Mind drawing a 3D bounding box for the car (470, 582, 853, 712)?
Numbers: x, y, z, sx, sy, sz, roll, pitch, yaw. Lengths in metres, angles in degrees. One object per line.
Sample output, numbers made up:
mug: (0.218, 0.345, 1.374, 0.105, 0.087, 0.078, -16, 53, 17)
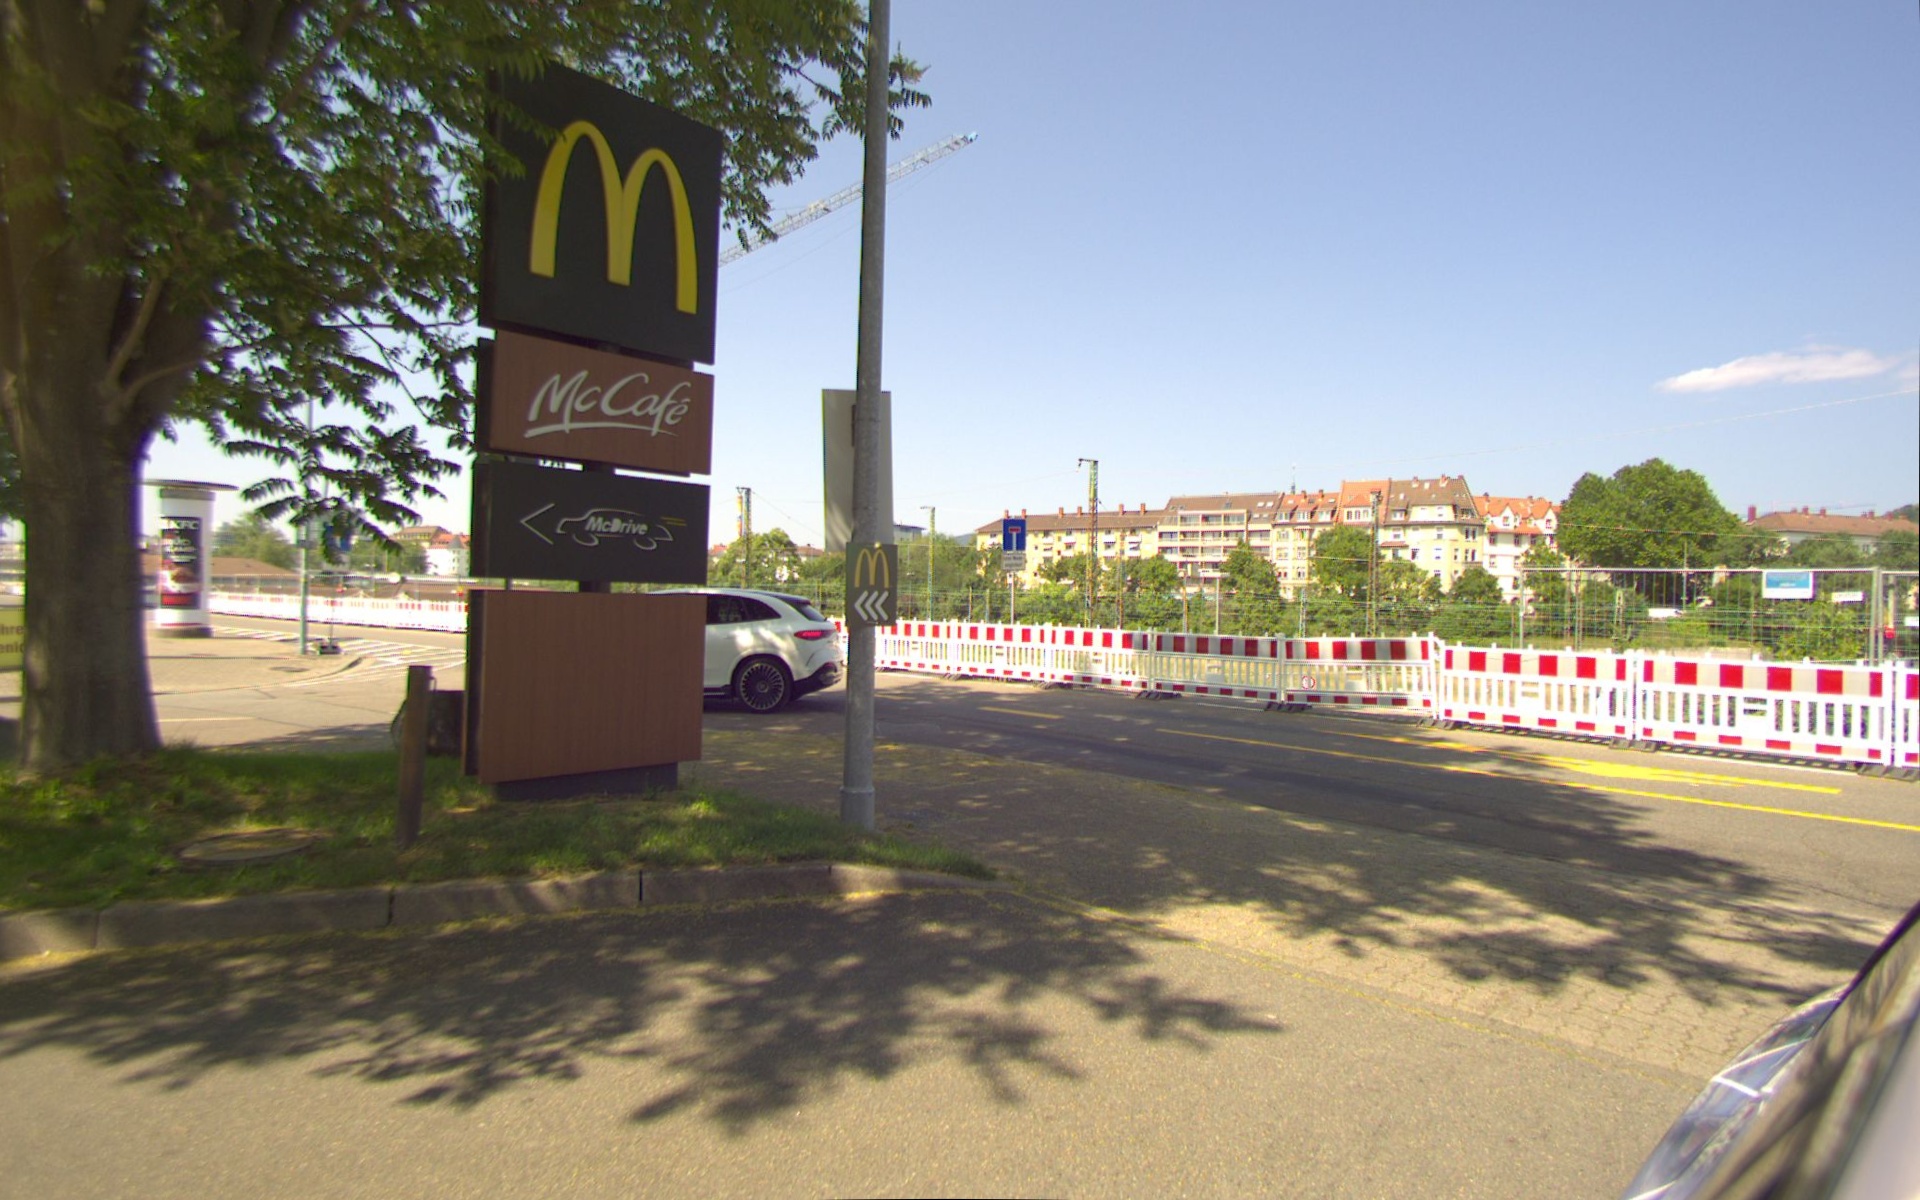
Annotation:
car: (-4.153, 0.627, 14.628, 4.940, 1.665, 1.998, 1, 0, 3)

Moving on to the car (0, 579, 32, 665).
car: (-21.367, 0.415, 20.265, 3.931, 1.748, 1.996, 1, -1, 7)

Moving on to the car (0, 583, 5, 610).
car: (-58.400, -0.250, 59.351, 1.693, 1.658, 3.280, 1, -1, 0)
